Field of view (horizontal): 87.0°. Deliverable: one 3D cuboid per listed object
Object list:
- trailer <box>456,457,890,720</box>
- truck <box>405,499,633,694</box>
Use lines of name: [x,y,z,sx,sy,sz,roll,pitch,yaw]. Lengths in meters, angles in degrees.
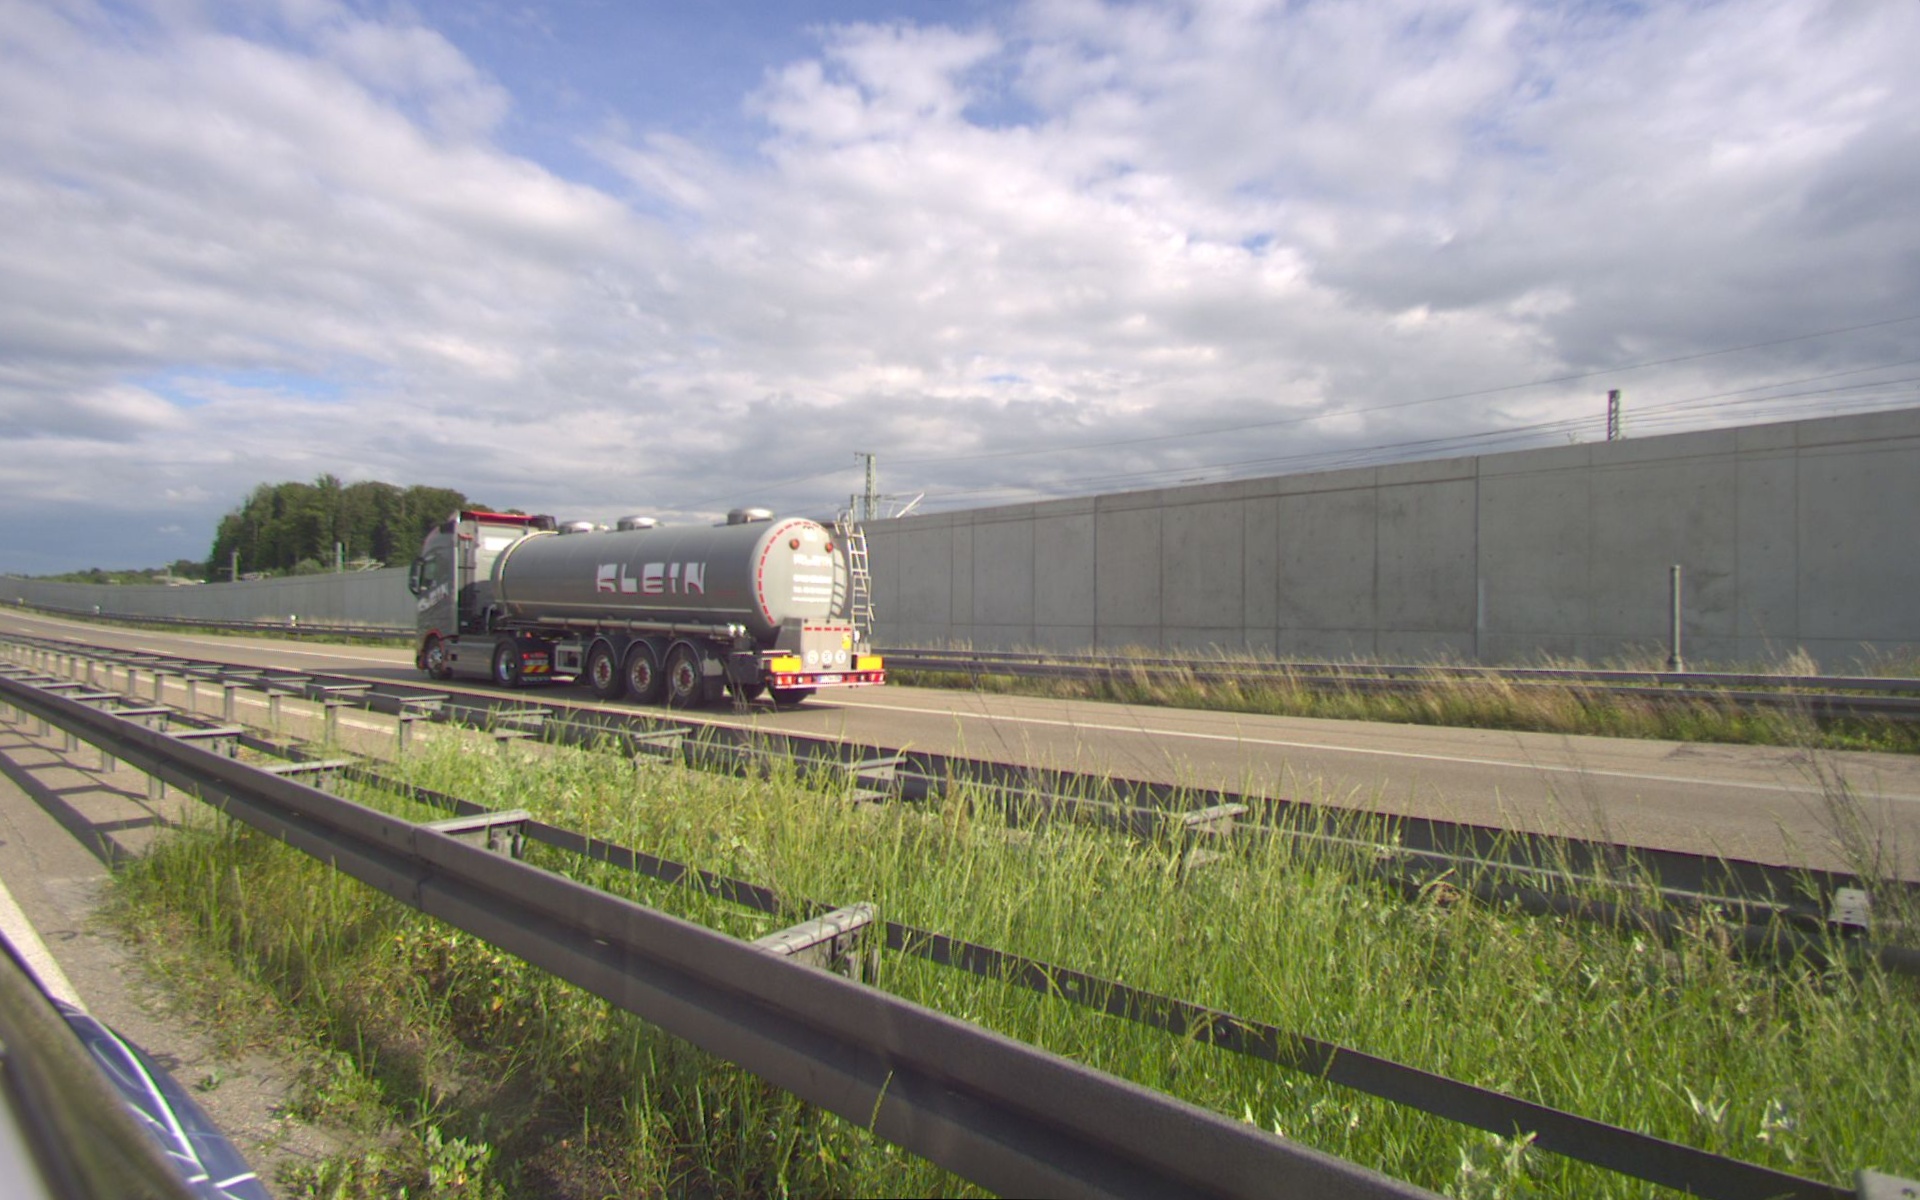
trailer: [-6.113,-0.092,19.662,10.858,3.931,2.561,-1,-2,41]
truck: [-10.239,-0.010,23.283,5.719,3.953,2.555,-1,-2,41]
